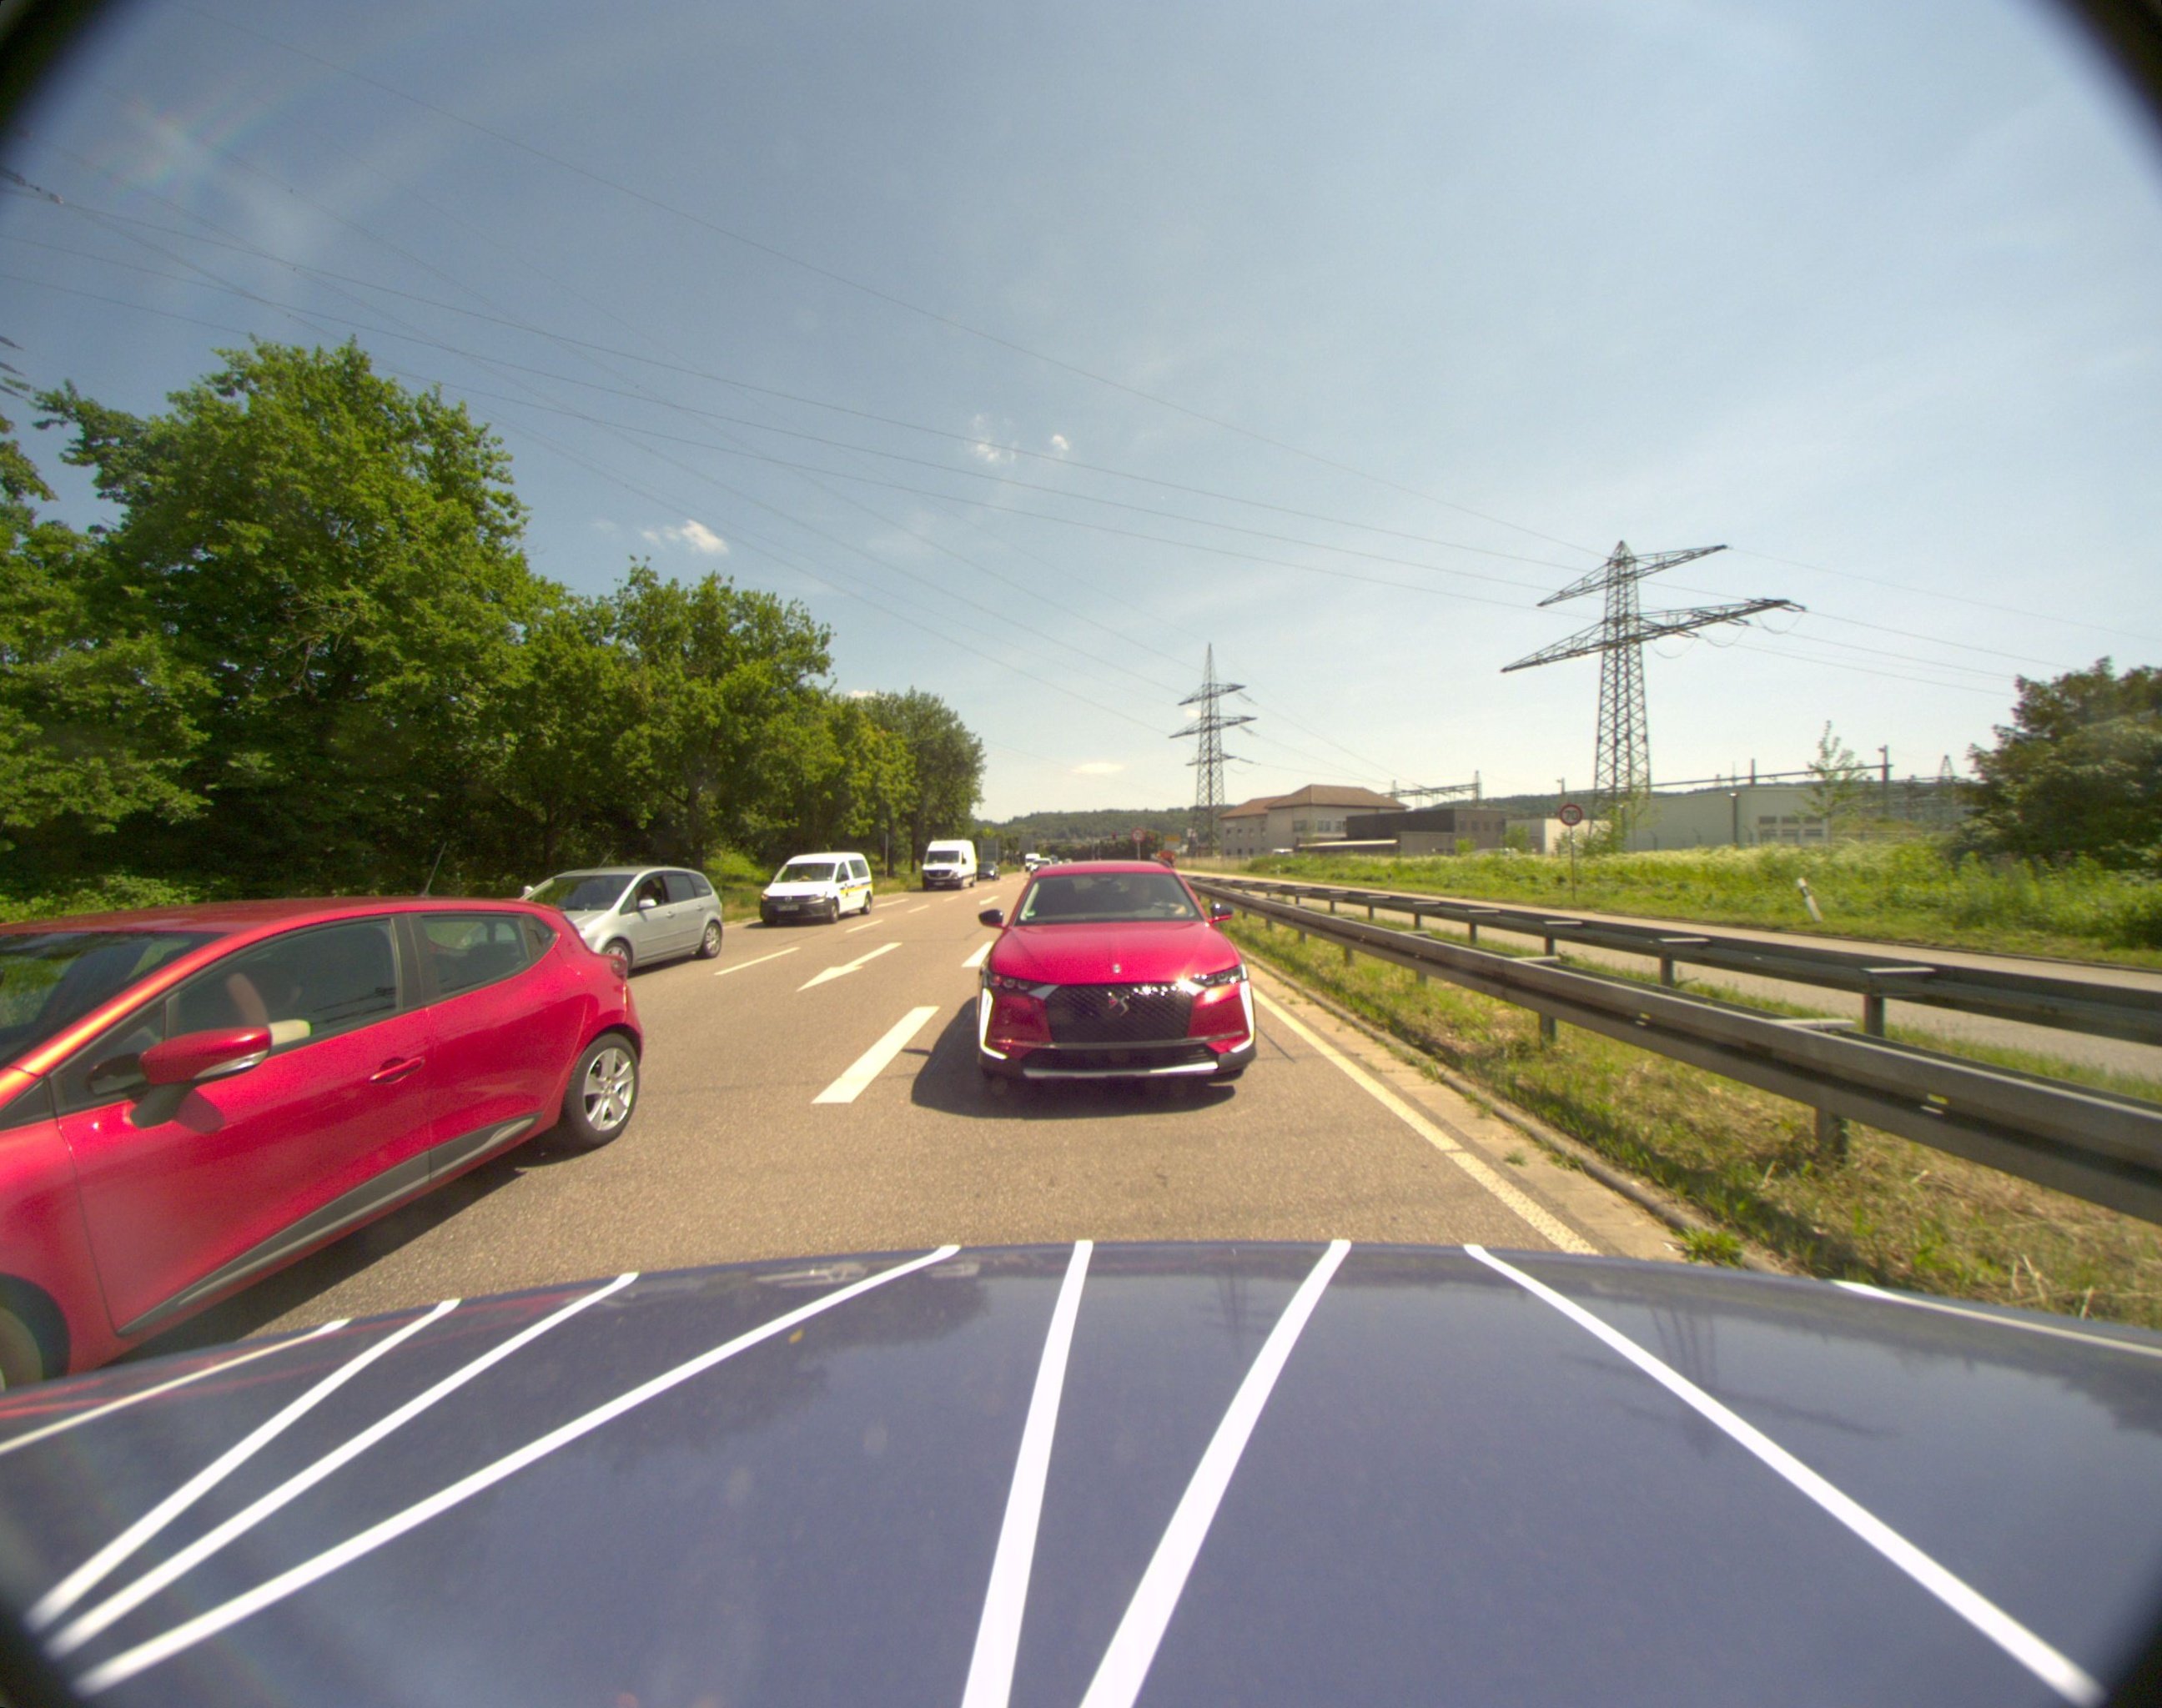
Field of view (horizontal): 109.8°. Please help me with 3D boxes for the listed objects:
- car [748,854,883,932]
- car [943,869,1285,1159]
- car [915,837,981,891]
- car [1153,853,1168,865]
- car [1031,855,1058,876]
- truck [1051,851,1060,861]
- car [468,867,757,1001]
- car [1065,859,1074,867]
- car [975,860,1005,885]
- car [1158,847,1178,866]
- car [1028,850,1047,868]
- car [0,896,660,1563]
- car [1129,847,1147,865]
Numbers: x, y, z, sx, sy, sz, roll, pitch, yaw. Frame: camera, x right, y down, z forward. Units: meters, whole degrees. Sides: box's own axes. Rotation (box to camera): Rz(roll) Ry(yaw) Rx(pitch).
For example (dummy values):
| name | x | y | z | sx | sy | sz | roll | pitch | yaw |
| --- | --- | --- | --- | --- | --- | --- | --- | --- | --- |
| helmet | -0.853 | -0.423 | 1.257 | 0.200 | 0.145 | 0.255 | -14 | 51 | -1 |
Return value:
| name | x | y | z | sx | sy | sz | roll | pitch | yaw |
| --- | --- | --- | --- | --- | --- | --- | --- | --- | --- |
| car | -6.965 | 0.925 | 20.584 | 1.809 | 1.790 | 5.037 | -2 | 0 | 0 |
| car | 0.210 | 0.934 | 6.413 | 1.846 | 1.453 | 4.414 | -2 | 0 | 1 |
| car | -6.973 | 0.490 | 40.723 | 2.232 | 2.592 | 7.018 | -2 | 0 | 0 |
| car | 14.101 | 0.866 | 135.539 | 1.999 | 1.904 | 3.998 | -2 | 1 | -3 |
| car | -2.955 | 0.931 | 61.721 | 1.850 | 1.559 | 4.363 | -2 | 0 | 1 |
| truck | -6.562 | 0.415 | 192.896 | 2.170 | 2.428 | 4.909 | -2 | 1 | -2 |
| car | -6.896 | 1.057 | 11.838 | 1.747 | 1.585 | 4.272 | -2 | 0 | 1 |
| car | -2.700 | 2.090 | 176.749 | 1.878 | 1.674 | 3.998 | -2 | 1 | -2 |
| car | -6.911 | 1.361 | 57.863 | 1.878 | 1.674 | 3.998 | -2 | 1 | -2 |
| car | 14.372 | 0.421 | 125.690 | 2.607 | 3.043 | 5.638 | 0 | 0 | 0 |
| car | -6.125 | 0.702 | 107.683 | 2.308 | 2.408 | 5.814 | -2 | 0 | 1 |
| car | -3.502 | 1.018 | 2.623 | 1.747 | 1.453 | 4.065 | -2 | 0 | 1 |
| car | 9.690 | 0.368 | 130.125 | 2.607 | 3.043 | 5.638 | 0 | 0 | 0 |
